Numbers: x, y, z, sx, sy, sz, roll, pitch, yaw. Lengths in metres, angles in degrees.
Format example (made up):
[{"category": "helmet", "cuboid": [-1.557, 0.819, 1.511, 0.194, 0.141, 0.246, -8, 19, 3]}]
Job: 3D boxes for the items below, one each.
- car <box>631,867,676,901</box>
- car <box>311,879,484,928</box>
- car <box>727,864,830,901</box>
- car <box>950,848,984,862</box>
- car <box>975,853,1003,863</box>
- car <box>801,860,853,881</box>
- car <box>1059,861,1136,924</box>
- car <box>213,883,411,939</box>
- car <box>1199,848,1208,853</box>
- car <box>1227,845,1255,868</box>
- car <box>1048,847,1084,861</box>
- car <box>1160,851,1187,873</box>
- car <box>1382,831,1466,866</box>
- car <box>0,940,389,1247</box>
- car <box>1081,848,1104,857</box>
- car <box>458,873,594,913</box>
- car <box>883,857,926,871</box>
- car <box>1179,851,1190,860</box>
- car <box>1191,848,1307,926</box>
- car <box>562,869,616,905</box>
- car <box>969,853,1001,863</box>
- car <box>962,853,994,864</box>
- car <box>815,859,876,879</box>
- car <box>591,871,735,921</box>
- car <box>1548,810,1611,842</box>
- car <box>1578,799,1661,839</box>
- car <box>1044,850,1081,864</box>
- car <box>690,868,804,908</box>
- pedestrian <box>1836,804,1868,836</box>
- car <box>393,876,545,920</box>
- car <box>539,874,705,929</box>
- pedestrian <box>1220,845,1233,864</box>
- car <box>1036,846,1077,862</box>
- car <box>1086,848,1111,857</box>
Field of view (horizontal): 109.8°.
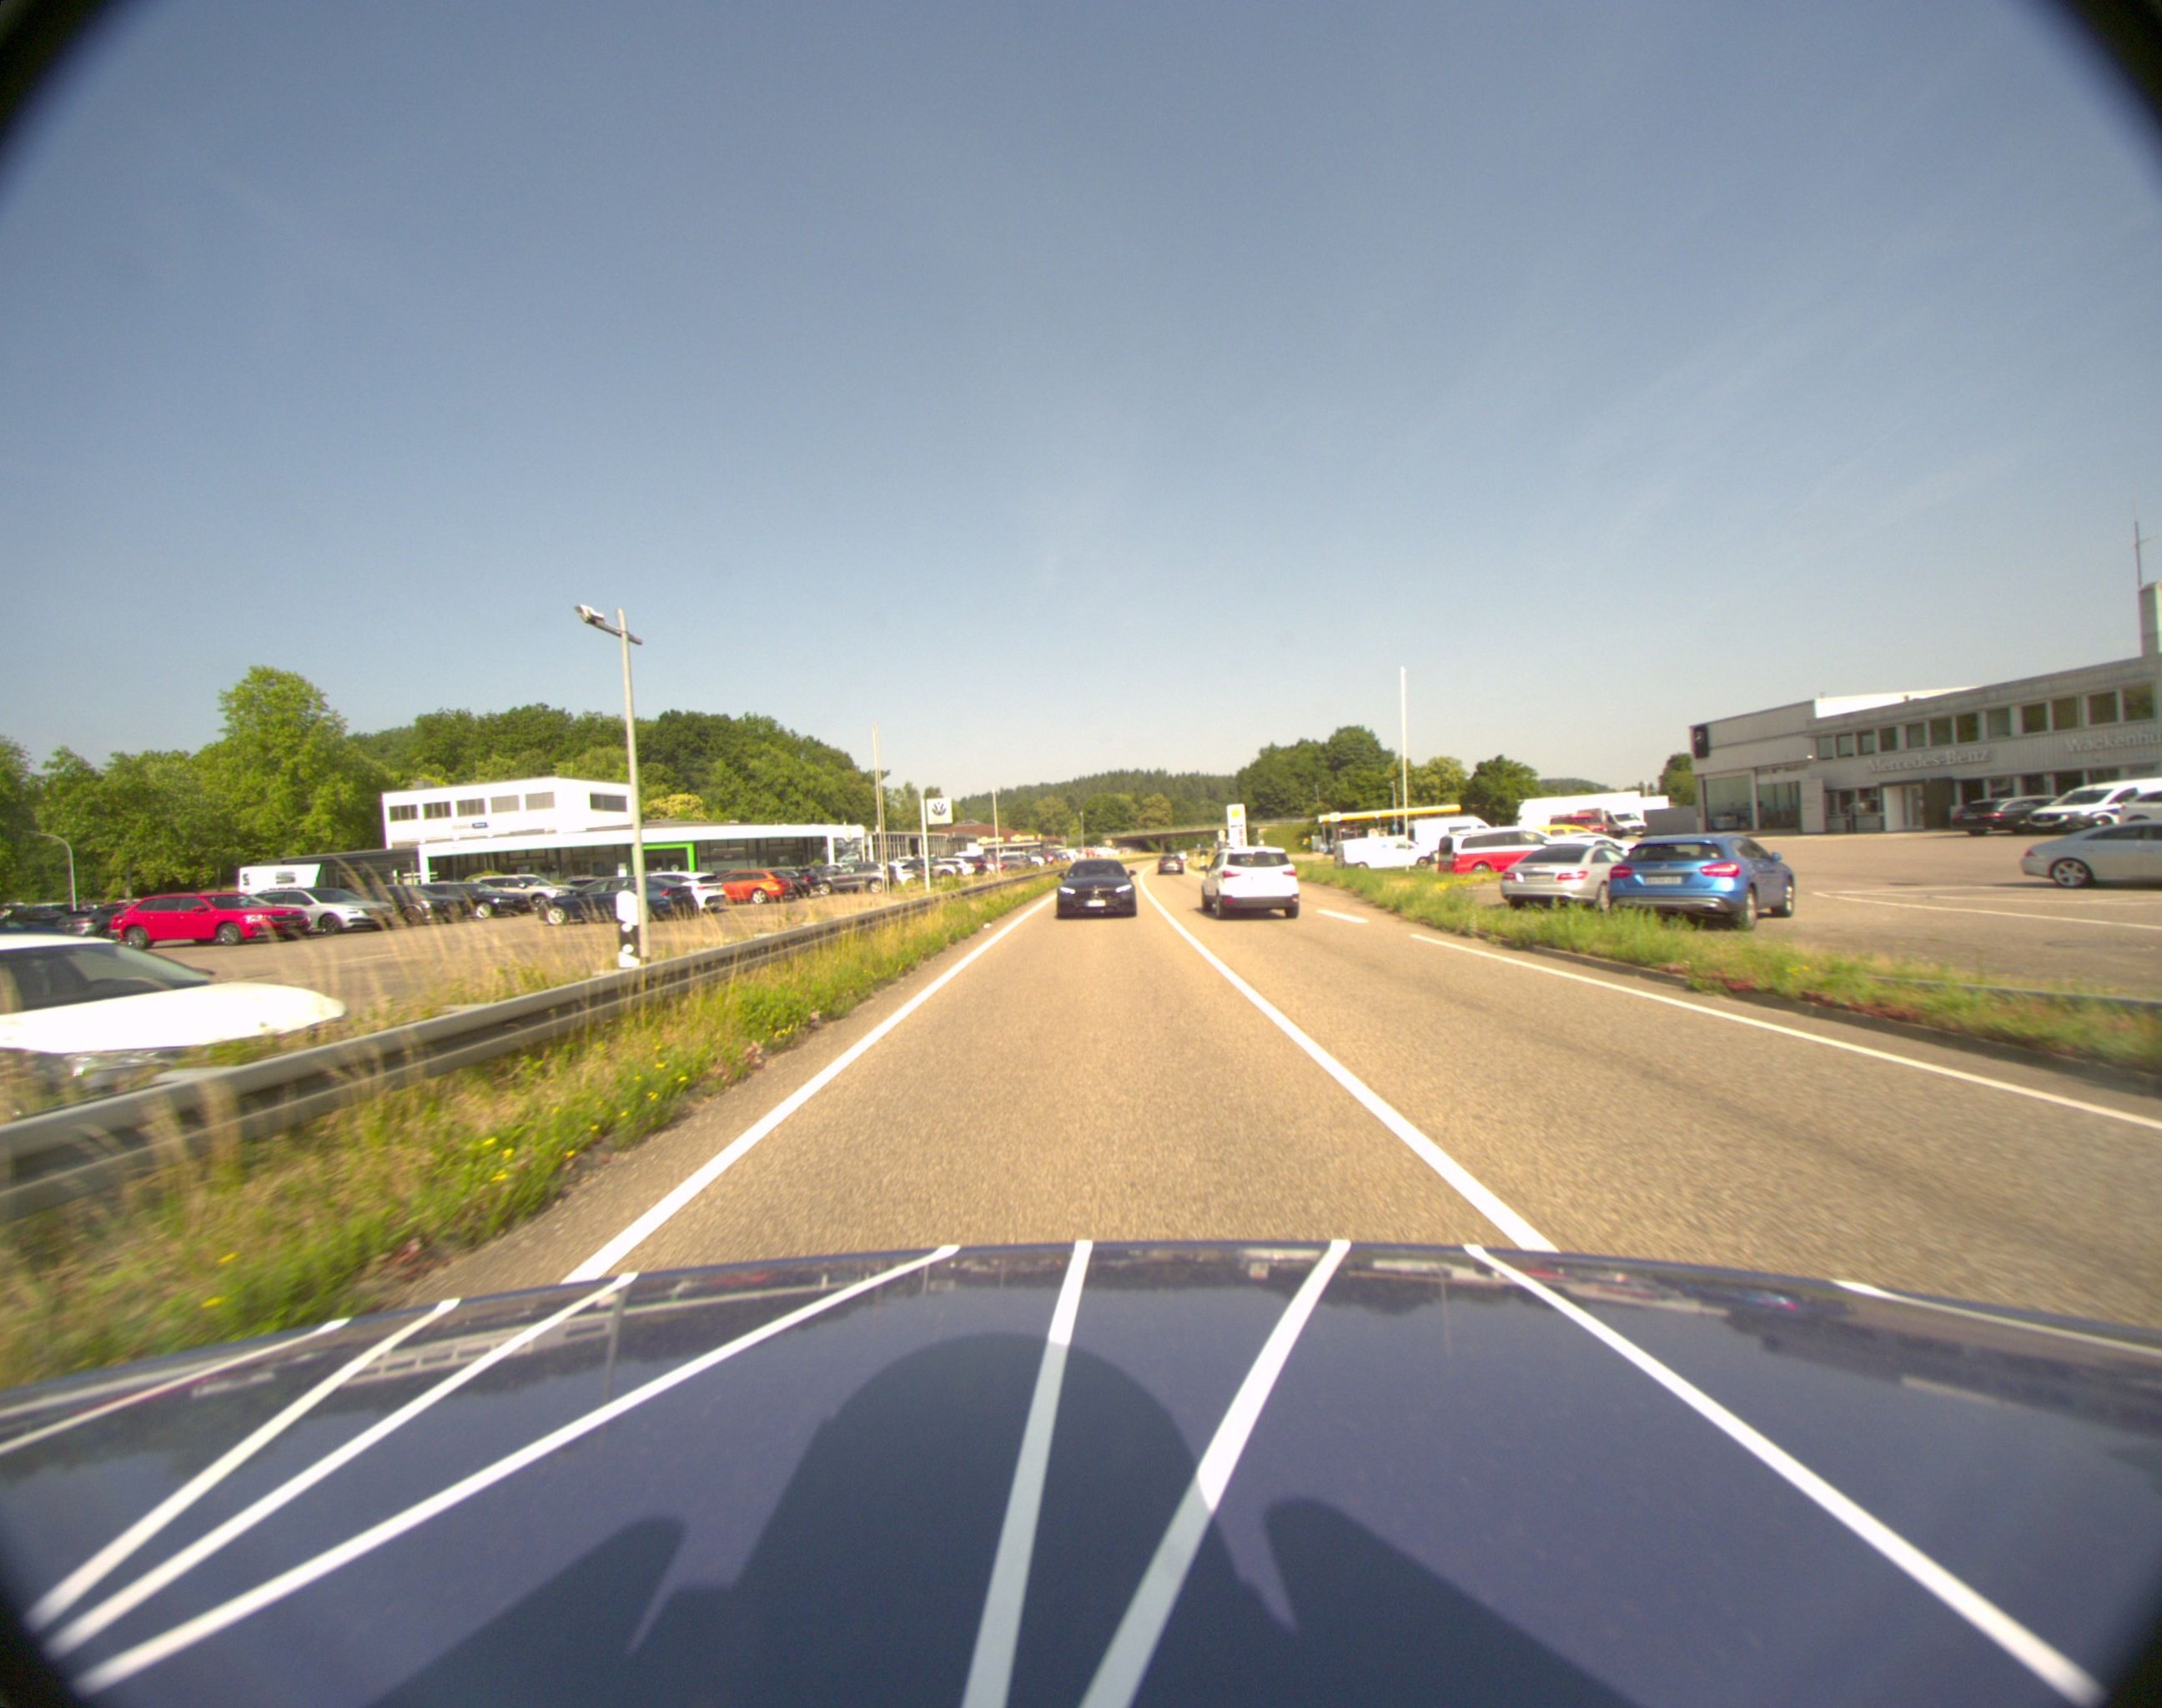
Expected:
[{"category": "car", "cuboid": [-22.692, 1.537, 40.434, 1.934, 1.556, 4.741, -2, 1, -29]}, {"category": "car", "cuboid": [-24.843, 1.789, 27.724, 4.746, 1.556, 1.932, -2, 1, 5]}, {"category": "car", "cuboid": [-14.037, 1.297, 35.433, 3.996, 1.477, 1.842, -2, 1, 3]}, {"category": "car", "cuboid": [-15.984, 0.155, 106.504, 4.318, 1.913, 1.791, -1, 1, 8]}, {"category": "car", "cuboid": [-14.283, 0.602, 117.789, 3.994, 1.456, 1.792, -1, 1, 10]}, {"category": "car", "cuboid": [-19.618, 1.265, 58.614, 4.344, 1.556, 1.794, -1, 1, 41]}, {"category": "car", "cuboid": [0.528, 0.919, 19.707, 1.715, 1.382, 4.148, -1, 0, 5]}, {"category": "car", "cuboid": [-25.050, 1.843, 24.859, 4.746, 1.556, 1.932, -2, 1, 5]}, {"category": "car", "cuboid": [28.870, -0.810, 178.553, 1.806, 1.165, 4.103, -1, 0, 12]}, {"category": "car", "cuboid": [12.278, 0.222, 58.516, 1.814, 1.620, 4.546, -1, -2, 9]}, {"category": "car", "cuboid": [-1.784, -0.003, 93.283, 4.052, 1.608, 1.881, -1, 1, 11]}, {"category": "car", "cuboid": [6.700, 0.573, 54.884, 1.755, 1.466, 4.289, -1, 0, 9]}, {"category": "car", "cuboid": [22.037, -0.342, 48.958, 4.455, 1.829, 1.987, -5, 0, 2]}, {"category": "car", "cuboid": [-7.504, 1.448, 5.073, 4.169, 1.482, 1.731, -1, 1, 1]}, {"category": "car", "cuboid": [1.953, -0.219, 126.823, 3.543, 1.456, 1.806, -1, 1, 10]}, {"category": "car", "cuboid": [-24.673, 1.725, 33.859, 4.746, 1.556, 1.932, -2, 1, 5]}, {"category": "car", "cuboid": [-19.972, 1.086, 86.119, 4.318, 1.456, 1.791, -1, 1, 6]}, {"category": "car", "cuboid": [16.913, 0.207, 123.868, 1.680, 1.464, 3.709, -1, 0, 10]}, {"category": "car", "cuboid": [3.867, 0.699, 18.212, 1.797, 1.620, 4.226, -1, 0, 0]}, {"category": "car", "cuboid": [-25.187, 1.645, 39.047, 1.934, 1.556, 4.741, -2, 1, -29]}, {"category": "car", "cuboid": [-14.561, 0.629, 115.275, 4.317, 1.456, 1.792, -1, 1, 10]}, {"category": "car", "cuboid": [-15.266, 0.642, 112.552, 4.317, 1.456, 1.792, -1, 1, 10]}, {"category": "car", "cuboid": [-19.046, 1.230, 61.314, 4.709, 1.480, 1.793, -1, 1, 26]}, {"category": "car", "cuboid": [-14.872, 1.475, 27.181, 4.101, 1.507, 1.825, -2, 1, 3]}, {"category": "car", "cuboid": [40.629, -2.217, 62.055, 1.884, 2.372, 5.224, -3, 0, 4]}, {"category": "car", "cuboid": [43.909, -2.791, 62.210, 2.400, 2.839, 6.530, -3, 0, 4]}, {"category": "car", "cuboid": [-2.198, 0.352, 90.393, 4.046, 1.498, 1.807, -1, 1, 11]}, {"category": "car", "cuboid": [-14.260, 1.438, 32.585, 3.996, 1.437, 1.825, -2, 1, 3]}, {"category": "pedestrian", "cuboid": [41.683, -1.837, 41.085, 0.822, 1.680, 0.850, -2, 1, 1]}, {"category": "car", "cuboid": [-24.796, 1.766, 30.873, 4.746, 1.556, 1.932, -2, 1, 5]}, {"category": "car", "cuboid": [-14.631, 1.486, 24.404, 4.167, 1.507, 1.824, -2, 1, 0]}, {"category": "pedestrian", "cuboid": [12.948, 0.046, 67.498, 0.848, 1.680, 1.145, -2, 1, 23]}, {"category": "car", "cuboid": [-2.835, 0.035, 88.021, 4.364, 1.630, 1.952, -2, 1, 10]}, {"category": "car", "cuboid": [2.940, -0.317, 129.223, 3.994, 1.456, 1.878, -1, 1, 10]}]
